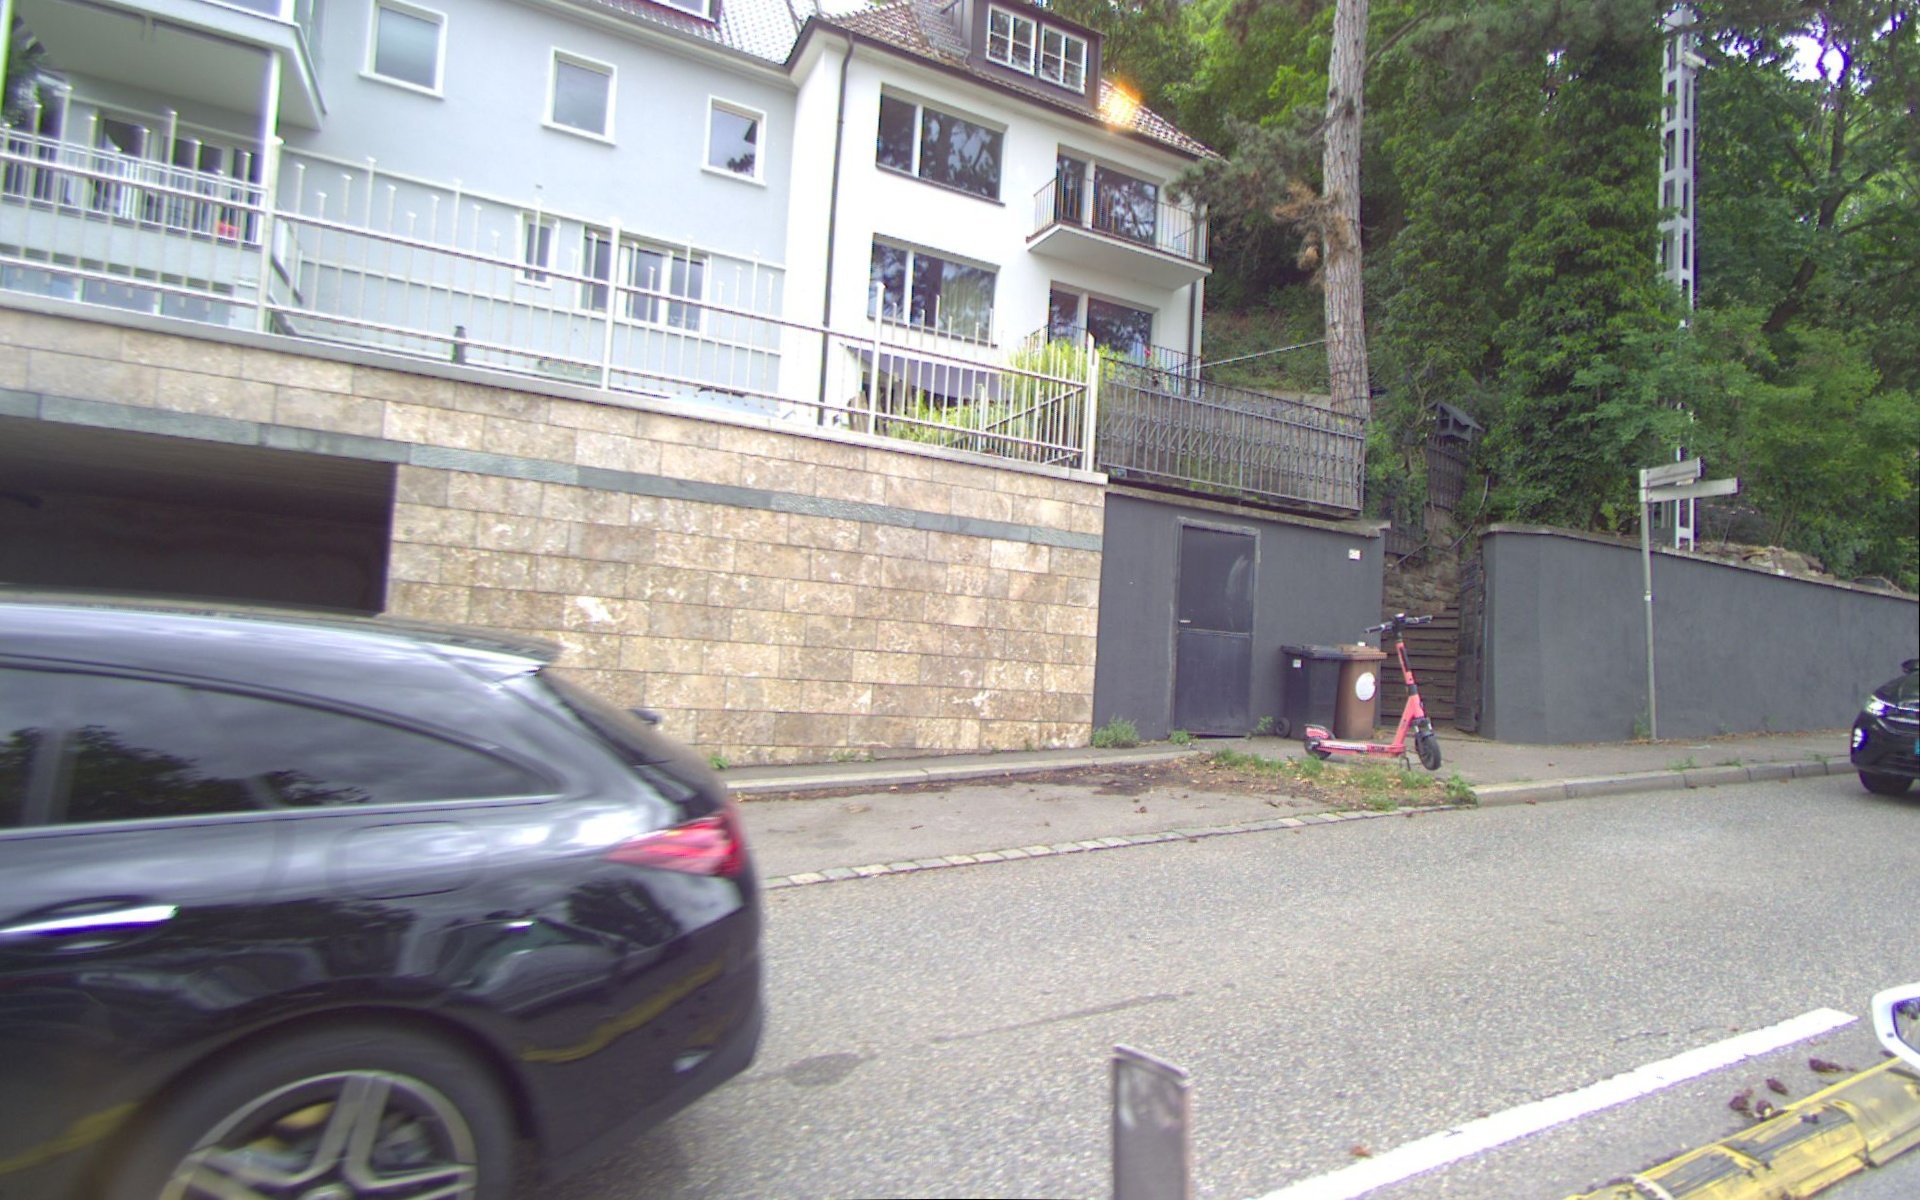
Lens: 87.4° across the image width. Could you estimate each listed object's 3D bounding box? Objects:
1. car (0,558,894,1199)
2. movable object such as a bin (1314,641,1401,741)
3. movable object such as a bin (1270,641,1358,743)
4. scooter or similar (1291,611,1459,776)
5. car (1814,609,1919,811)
[{"bbox_3d":[-2.419,0.647,2.010,4.170,1.473,1.854,2,0,-30],"label":"car"},{"bbox_3d":[4.029,0.911,10.186,0.593,0.951,0.541,2,0,-26],"label":"movable object such as a bin"},{"bbox_3d":[3.495,0.893,9.918,0.593,0.951,0.541,2,0,-26],"label":"movable object such as a bin"},{"bbox_3d":[3.440,0.736,8.349,1.194,1.249,0.493,2,0,33],"label":"scooter or similar"},{"bbox_3d":[9.303,0.917,8.489,3.859,1.550,1.752,1,1,-26],"label":"car"}]
